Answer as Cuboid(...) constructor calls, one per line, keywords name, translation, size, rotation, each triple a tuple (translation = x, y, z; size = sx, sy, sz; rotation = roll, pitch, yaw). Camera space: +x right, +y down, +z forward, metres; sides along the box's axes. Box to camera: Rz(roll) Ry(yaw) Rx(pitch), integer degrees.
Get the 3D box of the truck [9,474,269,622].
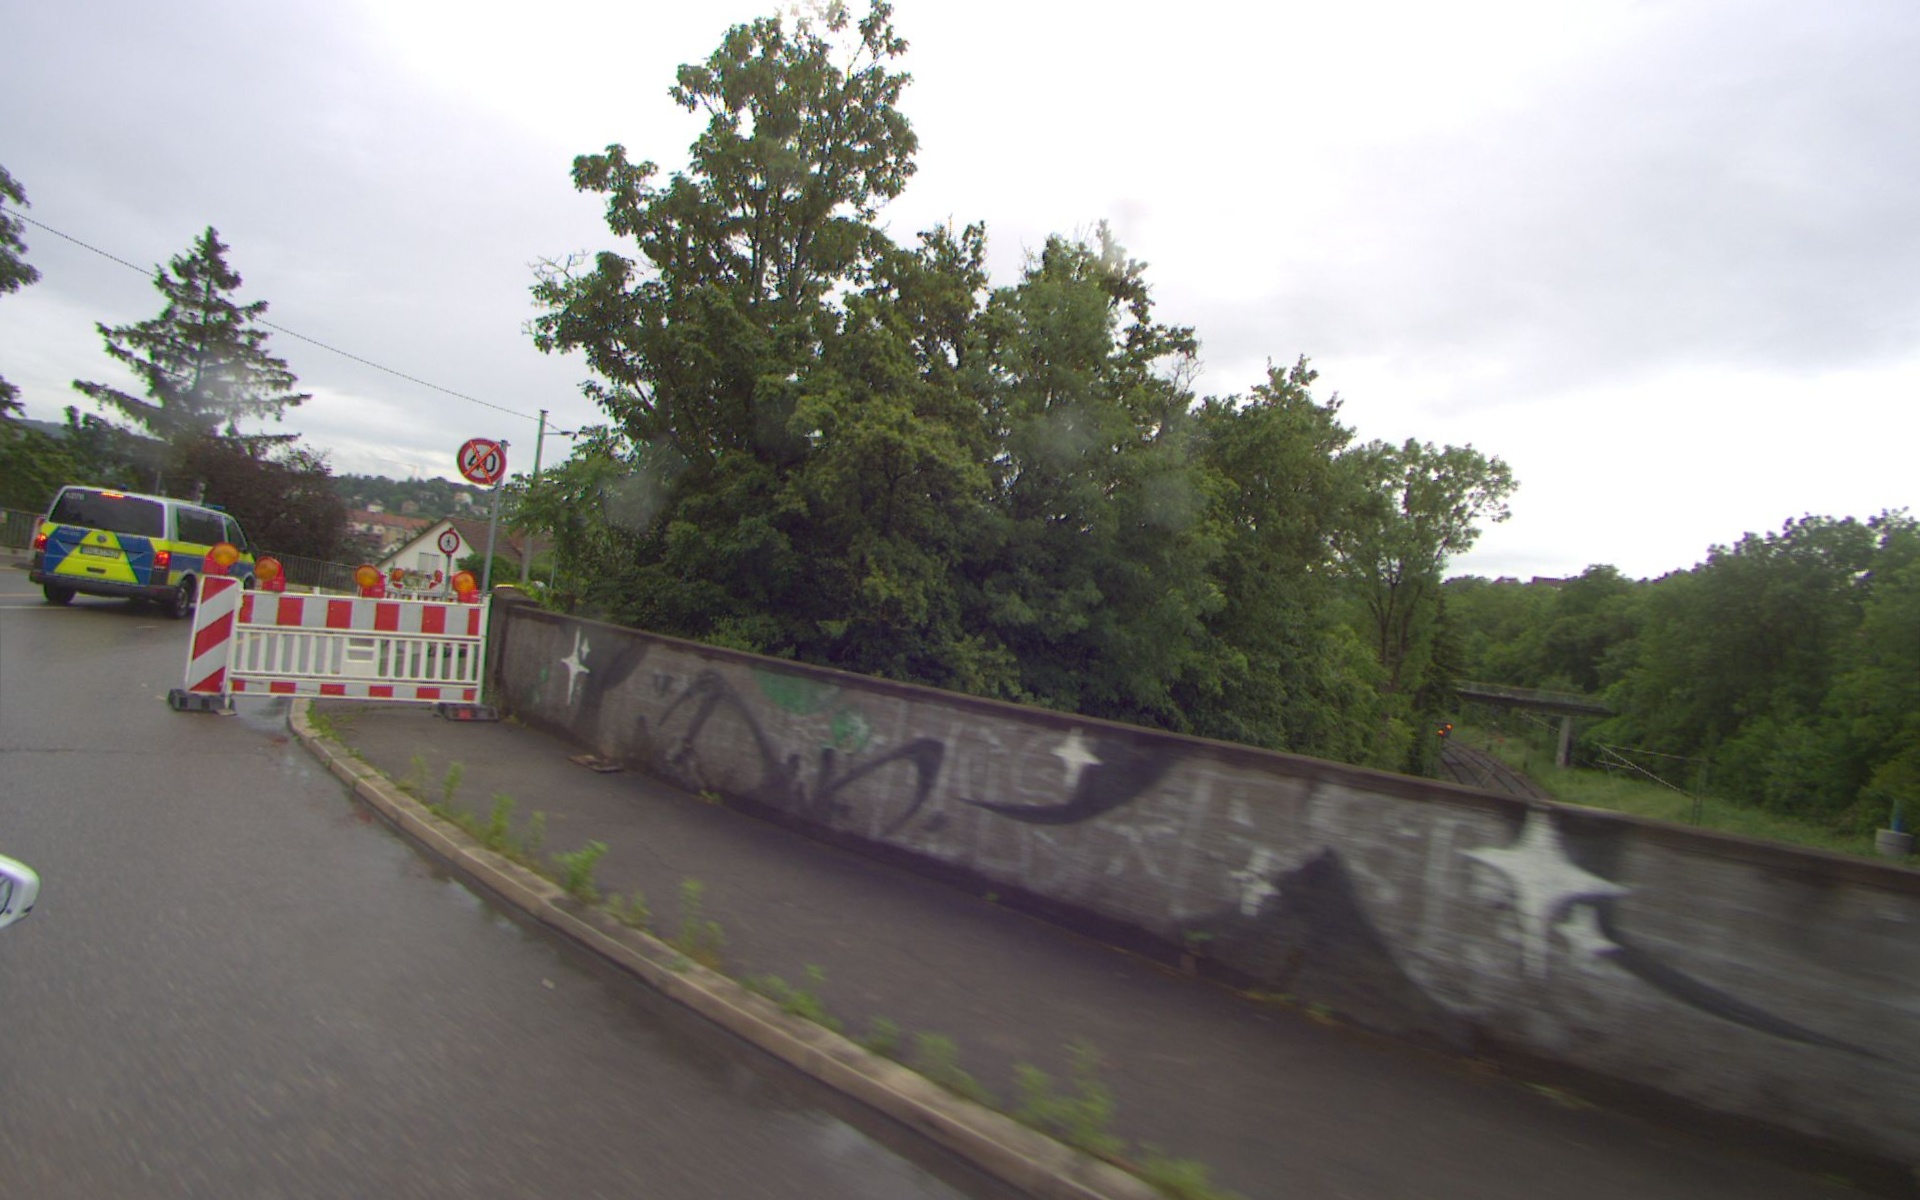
Cuboid(name="truck", translation=(-14.315, -0.824, 17.948), size=(1.972, 2.037, 4.714), rotation=(7, -1, -20))
